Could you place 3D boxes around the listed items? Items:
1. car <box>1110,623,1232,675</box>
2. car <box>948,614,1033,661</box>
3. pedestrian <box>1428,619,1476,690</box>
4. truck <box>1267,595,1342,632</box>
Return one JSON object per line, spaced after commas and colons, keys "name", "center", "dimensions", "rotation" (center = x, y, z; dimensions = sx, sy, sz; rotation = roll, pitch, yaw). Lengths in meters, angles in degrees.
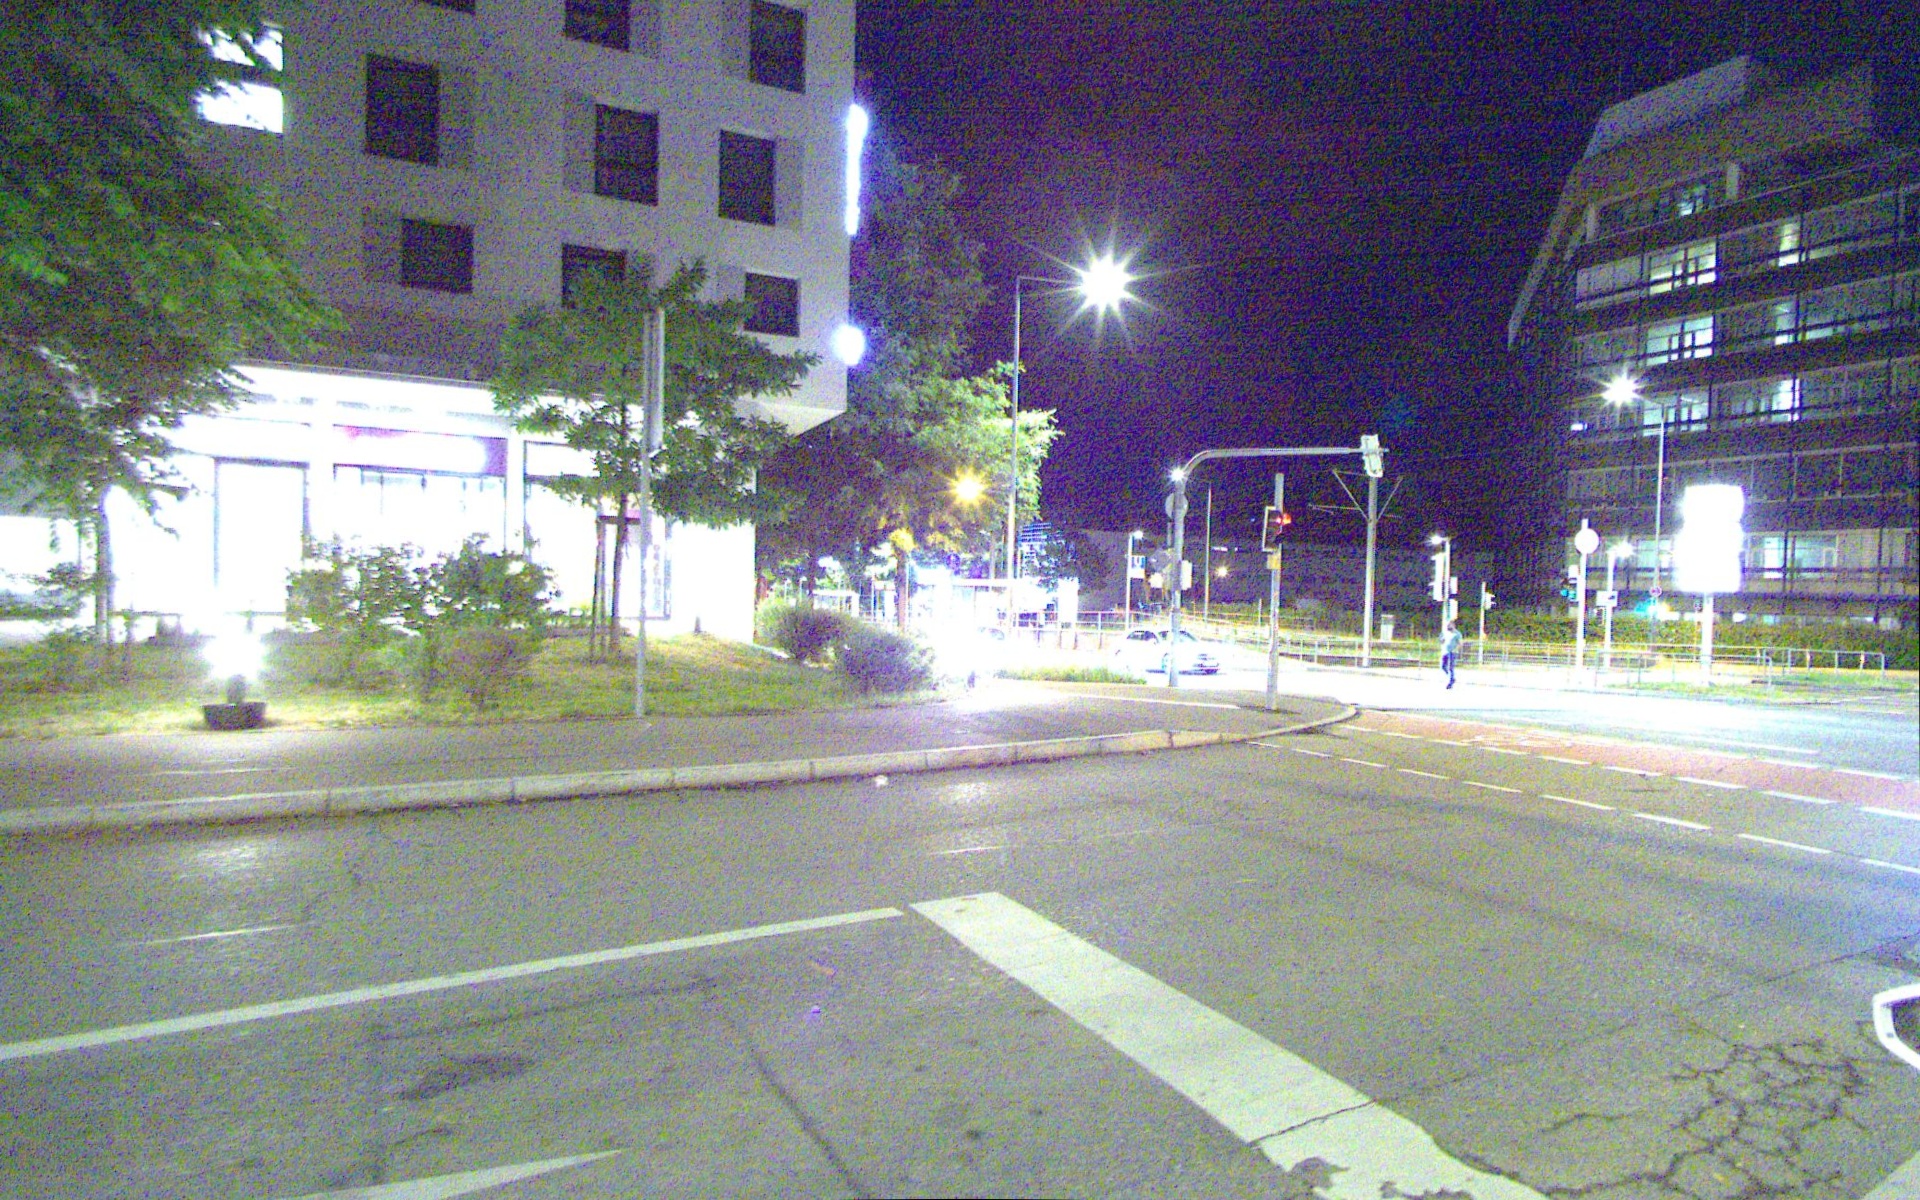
{"name": "car", "center": [6.674, 1.511, 32.237], "dimensions": [1.793, 1.522, 4.177], "rotation": [0, -1, -23]}
{"name": "car", "center": [1.075, 1.376, 37.303], "dimensions": [1.877, 1.591, 3.984], "rotation": [2, -2, -18]}
{"name": "pedestrian", "center": [11.953, 1.316, 24.407], "dimensions": [0.854, 1.656, 0.665], "rotation": [2, 0, -34]}
{"name": "truck", "center": [30.647, 1.154, 89.593], "dimensions": [2.877, 3.129, 5.873], "rotation": [2, 0, -28]}
